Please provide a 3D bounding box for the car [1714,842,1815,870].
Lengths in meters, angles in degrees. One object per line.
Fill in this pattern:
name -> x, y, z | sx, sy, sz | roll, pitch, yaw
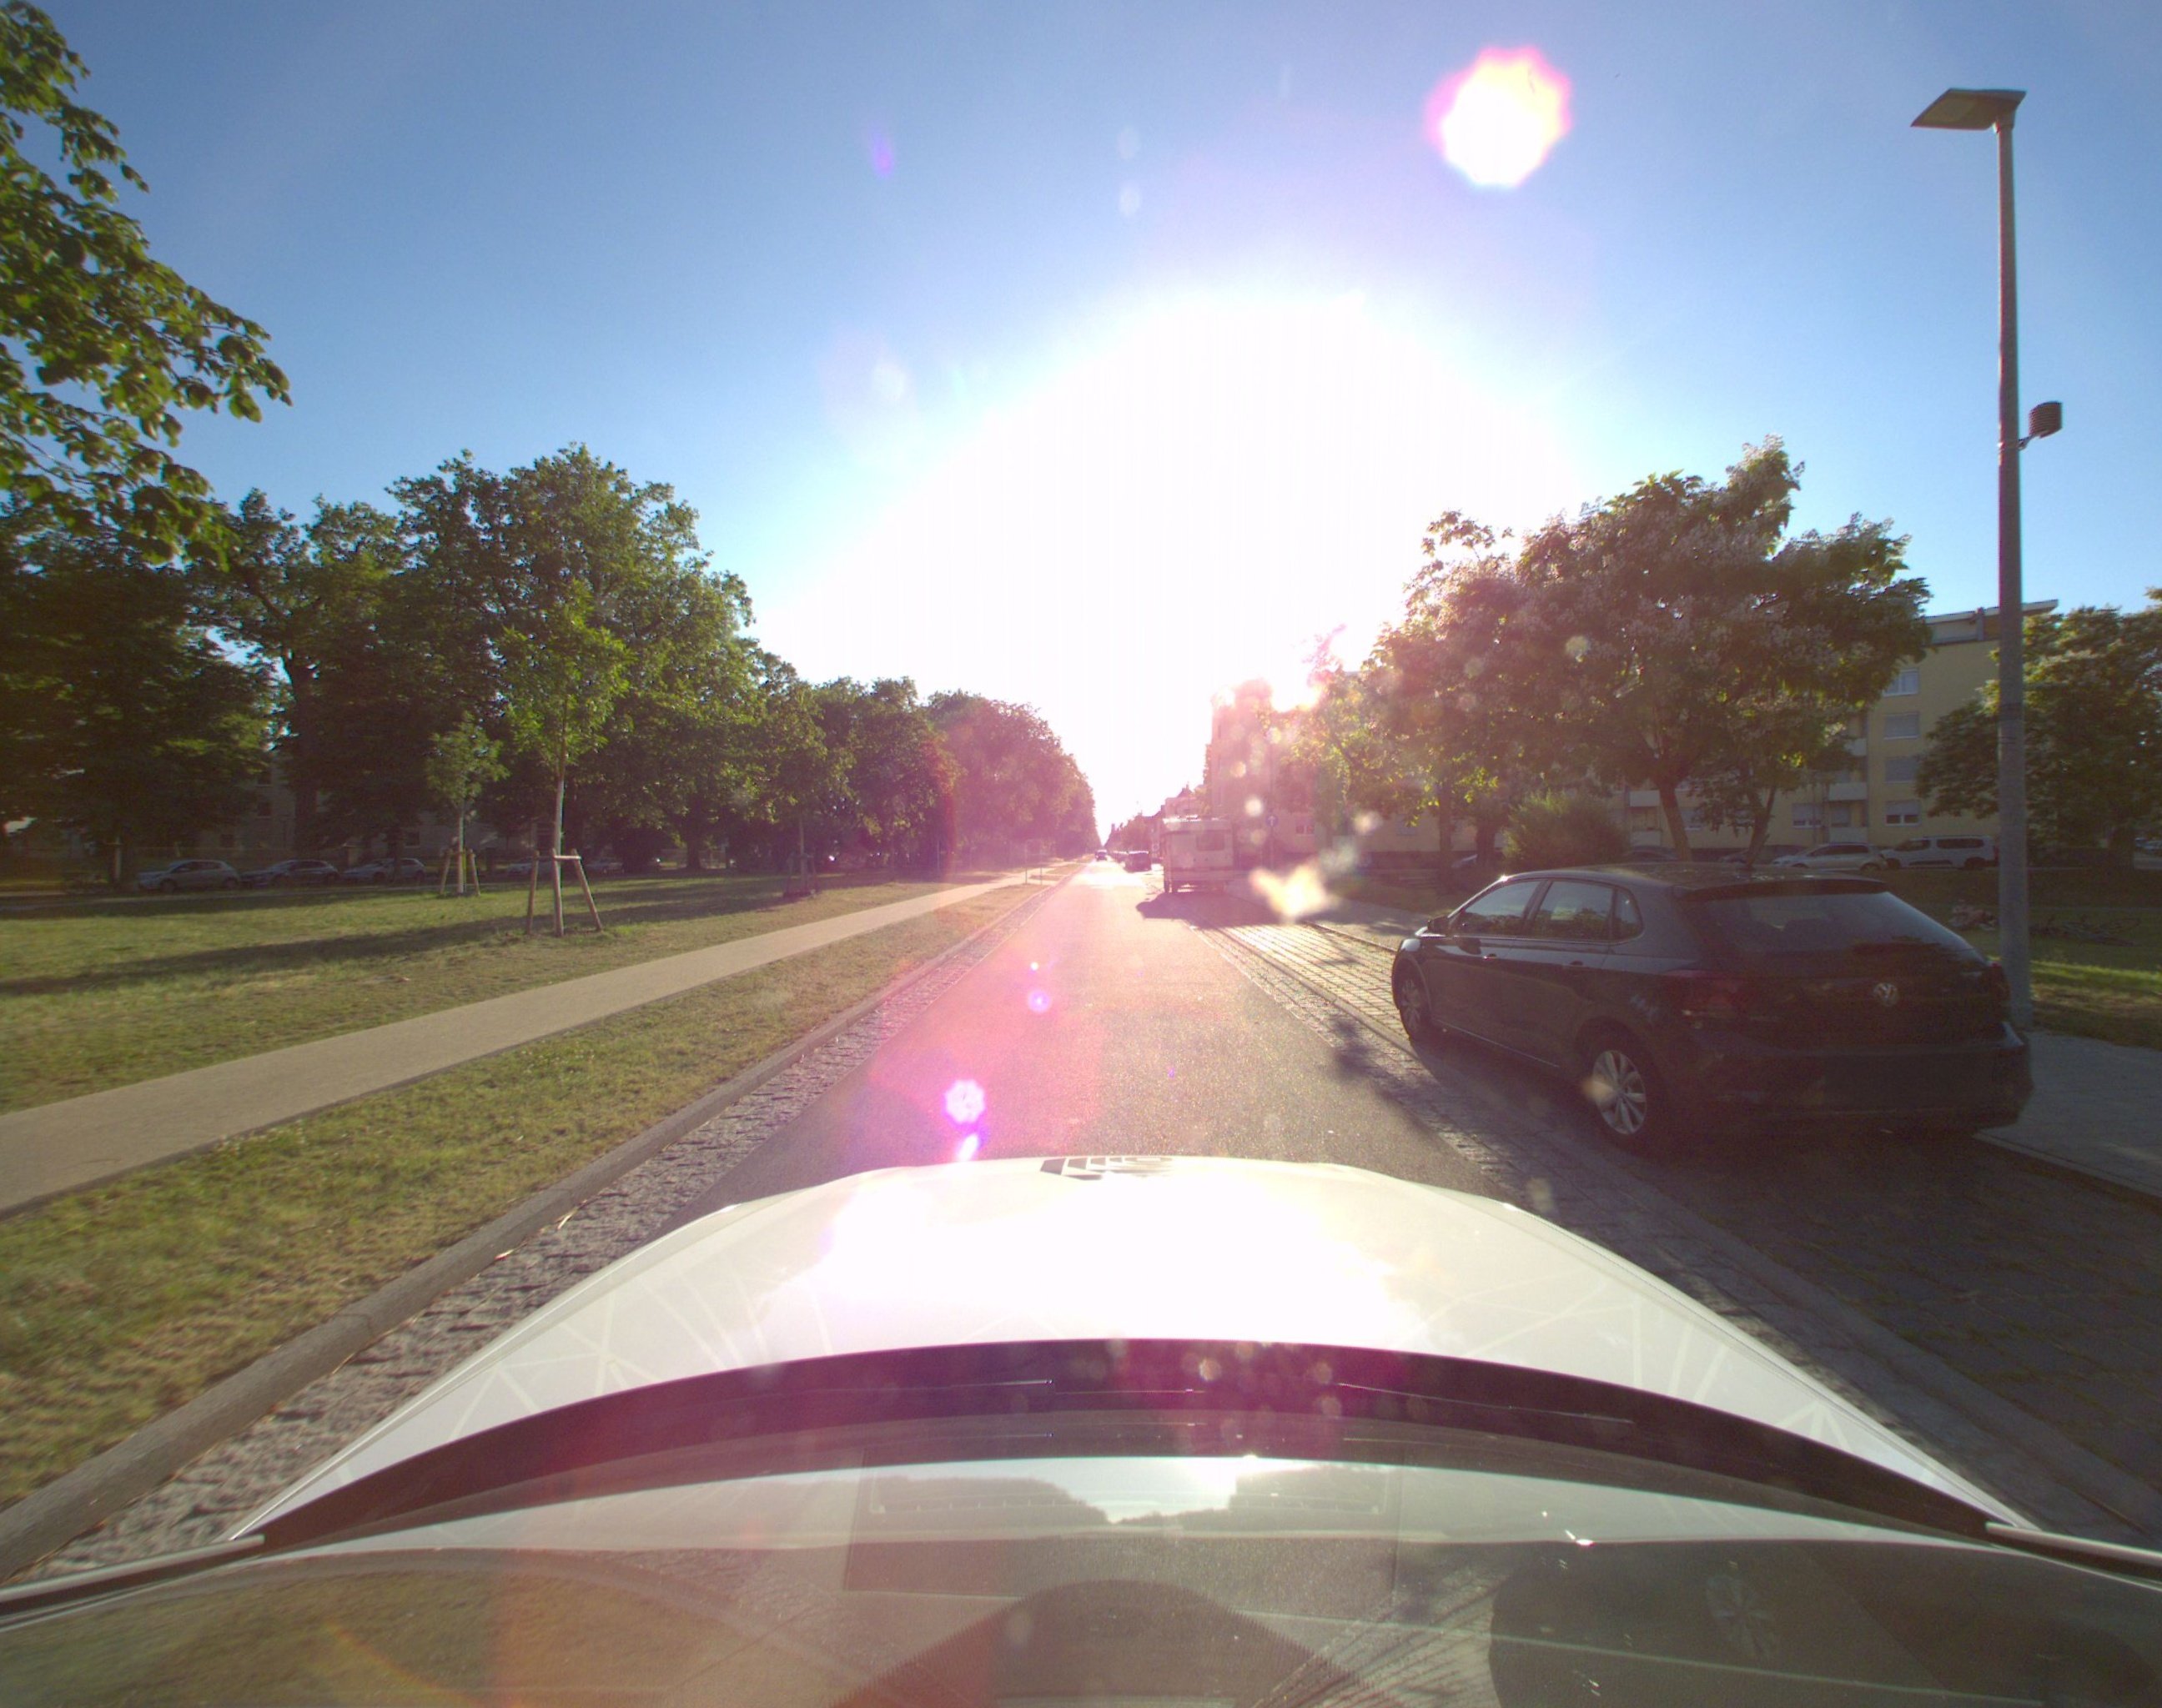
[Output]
car -> 37.538, 0.117, 44.860 | 3.949, 1.453, 1.892 | -1, 0, 30

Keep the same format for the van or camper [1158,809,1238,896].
van or camper -> 4.208, -0.011, 30.347 | 2.226, 2.904, 5.674 | -1, -1, 1

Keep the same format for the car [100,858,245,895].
car -> -41.033, 0.977, 36.923 | 1.986, 1.508, 4.002 | -1, 0, 2

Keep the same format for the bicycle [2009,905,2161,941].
bicycle -> 22.142, 1.493, 17.891 | 1.749, 0.615, 1.823 | -1, 0, 26

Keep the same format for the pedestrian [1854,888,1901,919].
pedestrian -> 22.462, 1.390, 22.977 | 0.608, 0.812, 0.724 | 0, 0, 3

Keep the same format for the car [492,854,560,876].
car -> -40.144, 0.780, 59.057 | 1.986, 1.508, 4.118 | -1, 0, 2

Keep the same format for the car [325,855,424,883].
car -> -40.595, 0.834, 46.948 | 1.986, 1.508, 4.118 | -1, 0, 2

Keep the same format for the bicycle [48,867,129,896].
bicycle -> -42.790, 1.167, 35.167 | 0.655, 1.175, 2.332 | -1, 0, -1

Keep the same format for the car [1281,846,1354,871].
car -> 15.066, 0.286, 52.047 | 4.174, 1.530, 2.003 | -1, 0, 5

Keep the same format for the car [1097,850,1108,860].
car -> 3.720, 0.152, 142.303 | 1.819, 1.669, 4.250 | -1, 0, 1

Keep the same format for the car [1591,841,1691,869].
car -> 32.651, 0.071, 47.612 | 4.473, 1.569, 1.890 | -1, 0, 20

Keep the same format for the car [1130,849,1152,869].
car -> 5.251, 0.424, 71.662 | 1.620, 1.669, 4.250 | -1, 0, 1

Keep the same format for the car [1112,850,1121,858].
car -> 6.885, 0.037, 156.556 | 1.620, 1.410, 4.250 | -1, 0, 1

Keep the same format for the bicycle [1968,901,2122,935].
bicycle -> 22.614, 1.488, 19.203 | 1.749, 0.615, 1.823 | -1, 0, 26

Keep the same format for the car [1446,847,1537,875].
car -> 22.329, 0.392, 44.451 | 4.162, 1.463, 1.700 | -1, 0, 17

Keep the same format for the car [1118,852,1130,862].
car -> 6.571, 0.444, 125.352 | 1.620, 1.410, 4.250 | -1, 0, 1

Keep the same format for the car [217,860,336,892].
car -> -40.988, 1.090, 41.624 | 1.986, 1.508, 4.002 | -1, 0, 2

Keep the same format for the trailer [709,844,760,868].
trailer -> -39.269, 0.222, 92.606 | 2.449, 2.489, 7.054 | -1, 0, 2

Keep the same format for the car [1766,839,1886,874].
car -> 35.625, 0.126, 39.060 | 3.949, 1.552, 1.620 | -1, 0, 29

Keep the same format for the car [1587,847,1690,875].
car -> 28.948, 0.354, 42.425 | 4.158, 1.357, 1.702 | -1, 0, 22

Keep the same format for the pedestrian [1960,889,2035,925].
pedestrian -> 23.292, 1.334, 20.724 | 0.577, 0.812, 1.244 | 0, 0, -43

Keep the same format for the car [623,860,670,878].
car -> -39.859, 1.350, 74.771 | 1.986, 1.508, 4.118 | -1, 0, 2

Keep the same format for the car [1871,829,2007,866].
car -> 43.437, -0.290, 41.411 | 4.467, 1.746, 1.892 | -1, 0, 36

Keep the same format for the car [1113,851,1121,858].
car -> 7.638, 0.071, 173.114 | 1.620, 1.410, 4.250 | -1, 0, 1

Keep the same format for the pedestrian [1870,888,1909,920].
pedestrian -> 21.649, 1.346, 21.811 | 0.470, 0.812, 0.612 | 0, 0, 3

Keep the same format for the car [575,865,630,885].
car -> -39.990, 1.742, 68.130 | 1.986, 1.508, 4.118 | -1, 0, 2

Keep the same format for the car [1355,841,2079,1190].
car -> 3.479, 0.700, 5.649 | 1.622, 1.464, 4.246 | -1, 0, -2

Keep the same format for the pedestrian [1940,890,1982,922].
pedestrian -> 23.443, 1.377, 21.700 | 0.470, 0.812, 0.612 | 0, 0, 3
